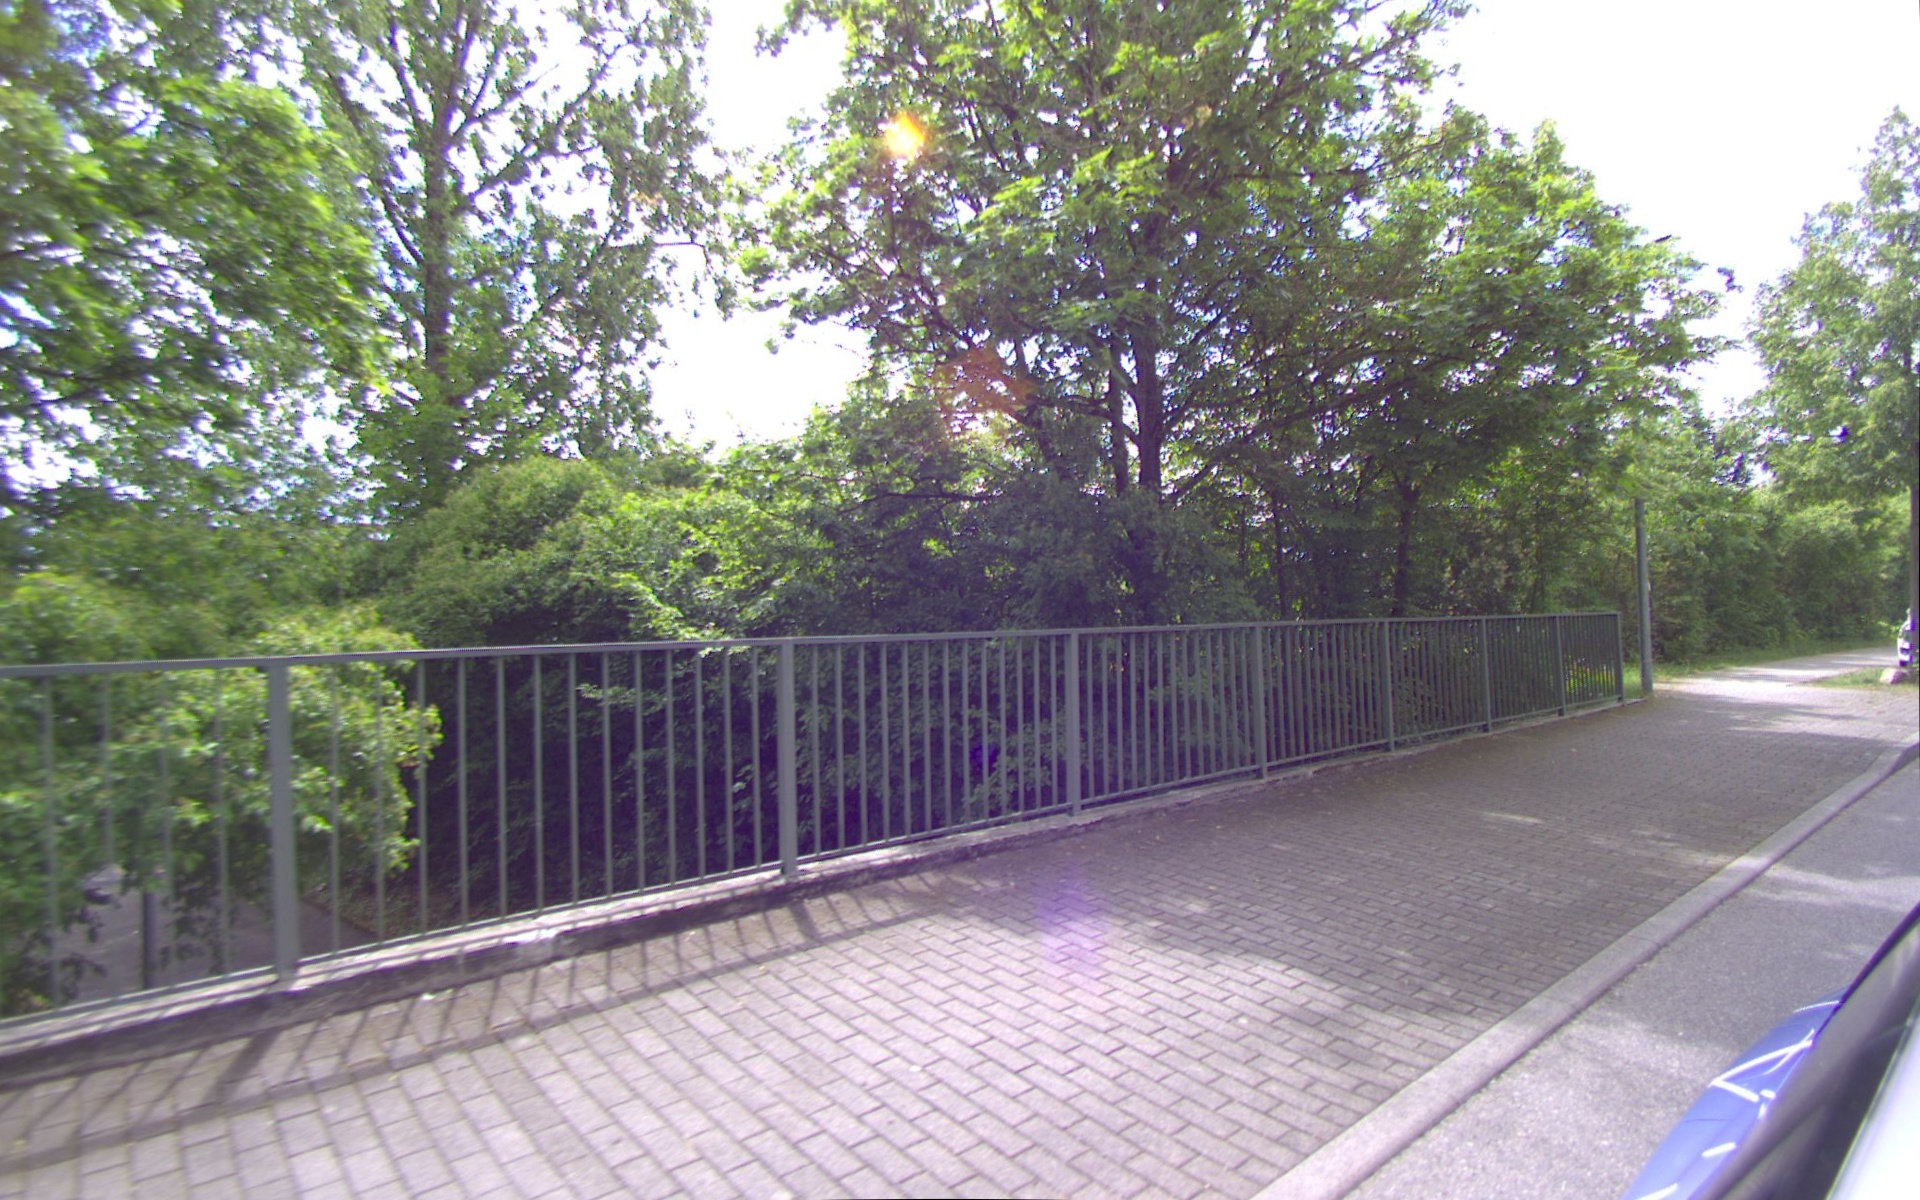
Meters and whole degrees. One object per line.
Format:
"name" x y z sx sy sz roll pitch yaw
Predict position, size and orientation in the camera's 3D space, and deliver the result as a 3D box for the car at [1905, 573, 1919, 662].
"car" 19.516 0.323 19.094 4.292 1.620 1.809 0 1 -38
